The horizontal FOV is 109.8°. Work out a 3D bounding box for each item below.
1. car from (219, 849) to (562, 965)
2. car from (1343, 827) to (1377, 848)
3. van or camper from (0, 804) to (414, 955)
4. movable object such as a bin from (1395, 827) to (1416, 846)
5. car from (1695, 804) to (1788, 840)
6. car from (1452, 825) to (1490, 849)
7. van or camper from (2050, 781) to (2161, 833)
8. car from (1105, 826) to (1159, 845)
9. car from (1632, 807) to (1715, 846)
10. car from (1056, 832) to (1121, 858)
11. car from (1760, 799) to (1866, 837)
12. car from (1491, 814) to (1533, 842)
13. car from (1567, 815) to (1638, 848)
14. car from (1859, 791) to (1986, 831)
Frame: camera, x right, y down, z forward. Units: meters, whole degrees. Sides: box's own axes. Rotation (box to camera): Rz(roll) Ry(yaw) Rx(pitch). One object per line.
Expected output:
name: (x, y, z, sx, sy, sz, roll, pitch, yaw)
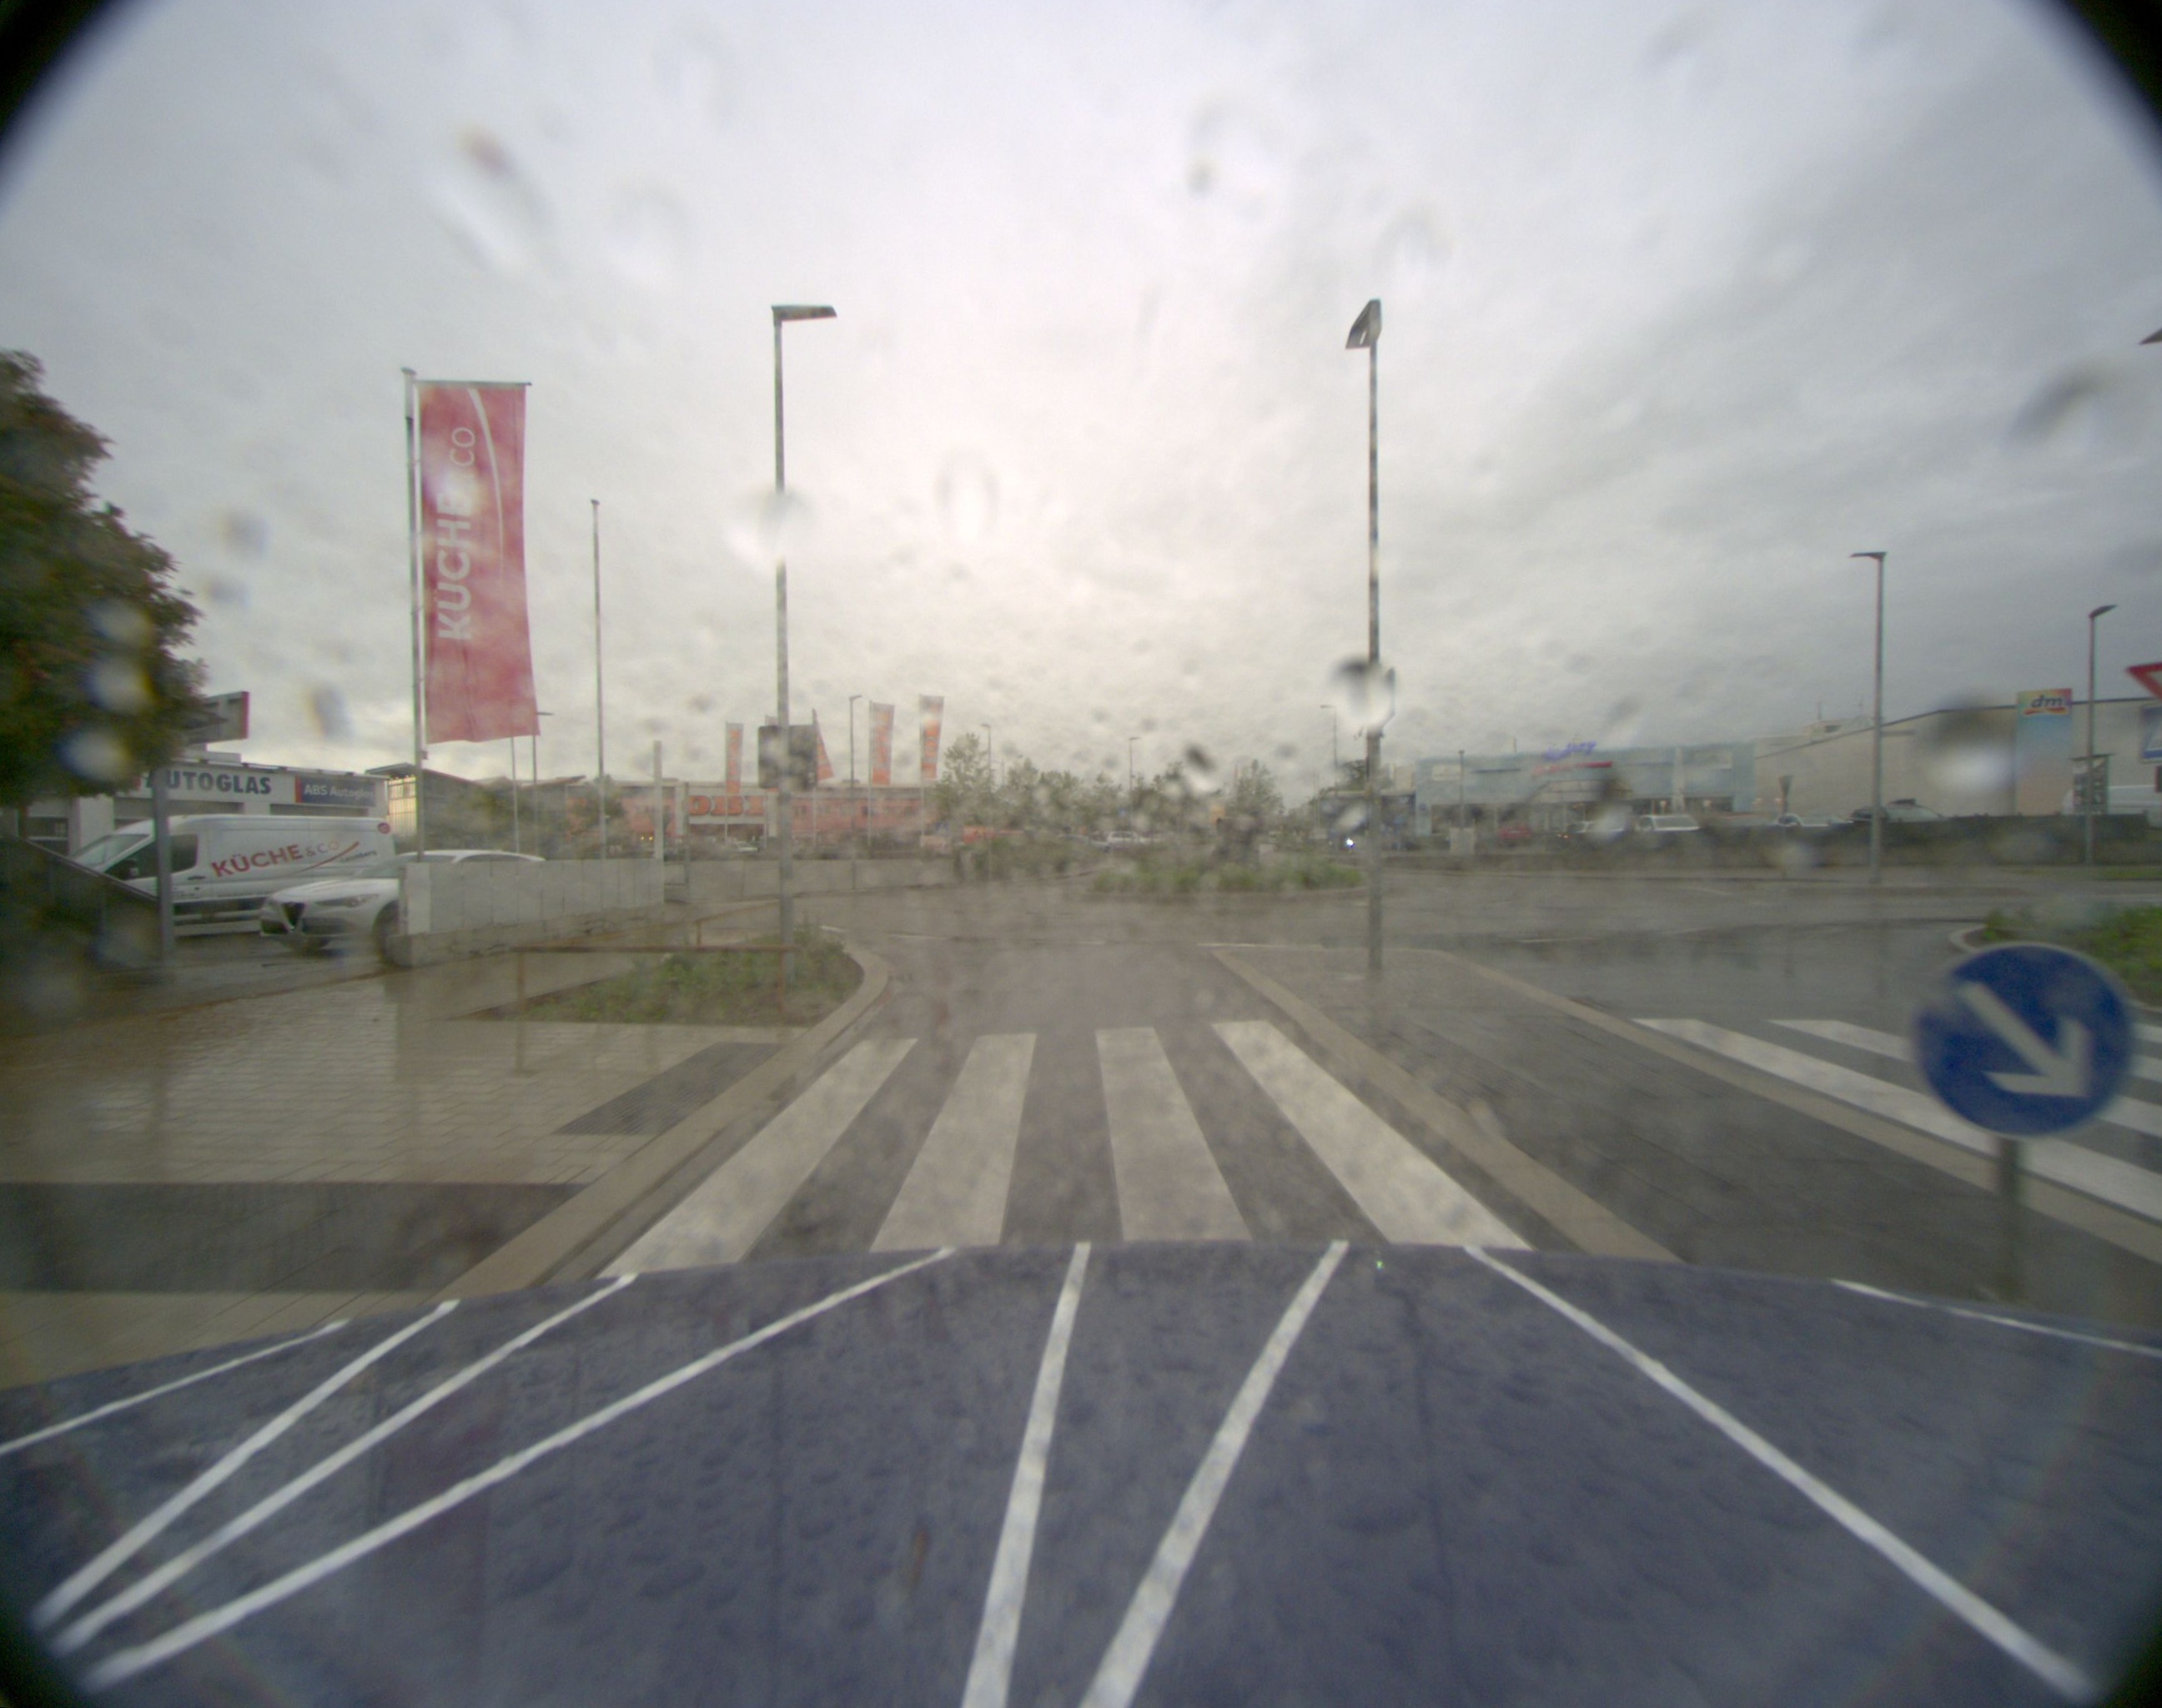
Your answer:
car: (-11.516, 0.782, 13.162, 1.845, 1.681, 4.172, -1, 0, 7)
car: (22.095, -1.307, 60.095, 1.917, 1.521, 4.007, -3, 0, 27)
van or camper: (-17.399, 0.436, 15.516, 2.125, 2.525, 5.271, -1, 0, 20)
movable object such as a bin: (22.849, -1.238, 53.449, 1.212, 1.288, 1.481, -4, 0, 25)
car: (27.795, -1.313, 32.135, 1.883, 1.288, 4.006, -4, 0, 25)
car: (24.177, -1.048, 47.190, 1.883, 1.288, 4.006, -4, 0, 25)
van or camper: (40.139, -1.844, 28.403, 4.372, 1.751, 1.891, -4, 0, 25)
car: (4.225, -1.481, 62.794, 3.990, 1.433, 2.003, -1, 0, 25)
car: (25.840, -1.156, 33.270, 1.790, 1.543, 4.006, -1, 1, 22)
car: (0.539, -0.649, 53.396, 4.095, 1.696, 2.004, -1, 0, 29)
car: (29.851, -1.441, 31.151, 1.883, 1.288, 4.006, -4, 0, 25)
car: (26.463, -1.578, 46.766, 1.883, 1.477, 4.006, -4, 0, 25)
car: (23.124, -0.993, 33.829, 1.883, 1.288, 4.006, -4, 0, 25)
car: (32.716, -1.631, 29.713, 1.883, 1.288, 4.006, -4, 0, 25)
